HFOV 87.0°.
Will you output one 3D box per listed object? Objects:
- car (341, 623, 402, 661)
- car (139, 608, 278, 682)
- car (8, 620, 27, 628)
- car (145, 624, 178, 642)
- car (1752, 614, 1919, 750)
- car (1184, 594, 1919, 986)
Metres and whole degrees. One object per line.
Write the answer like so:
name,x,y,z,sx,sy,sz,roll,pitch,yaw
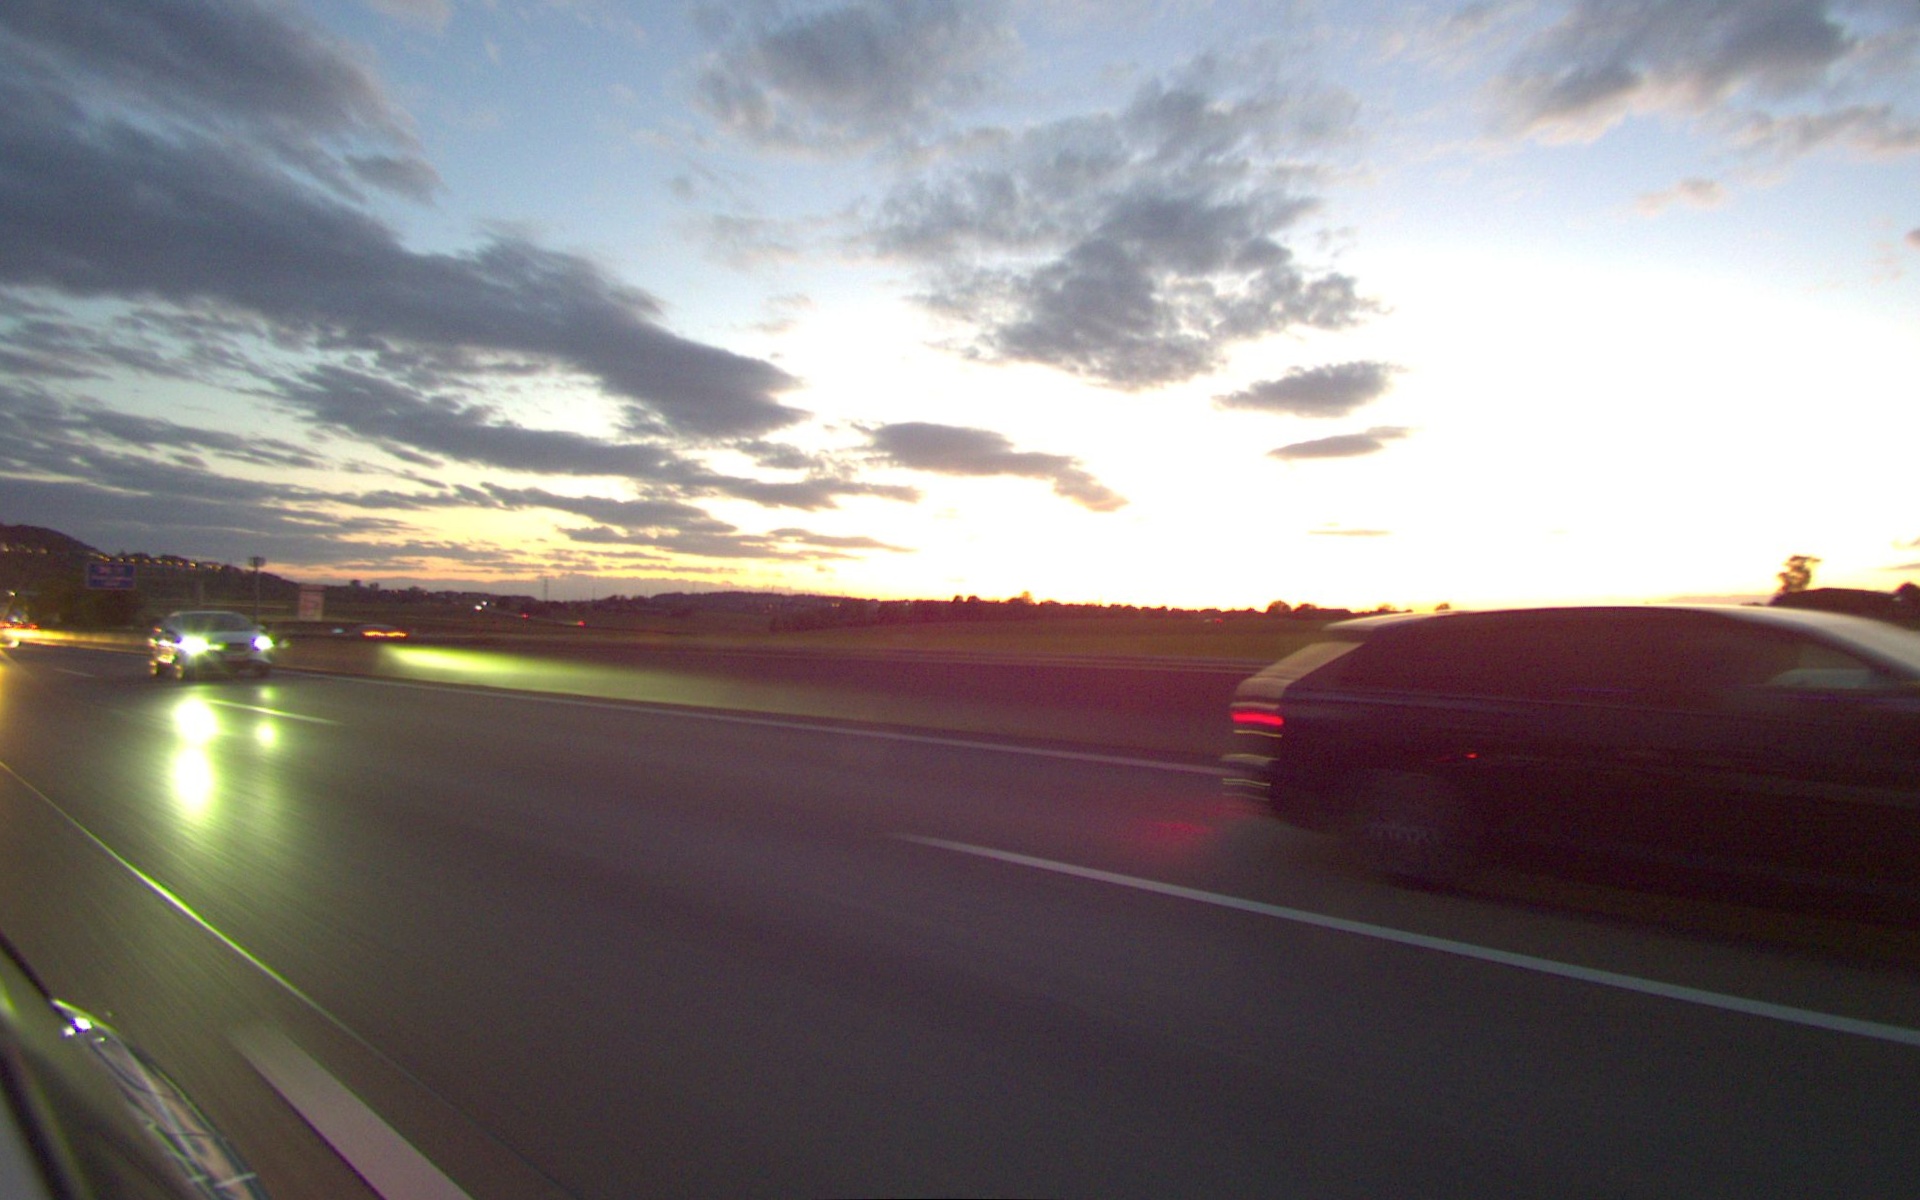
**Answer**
car,-34.114,2.378,58.639,4.417,2.029,1.755,-1,0,41
car,-18.903,1.048,25.366,4.854,1.660,1.795,-1,0,41
car,-140.443,3.582,150.824,3.998,1.189,1.648,-1,0,41
car,-75.450,3.082,95.643,4.518,1.546,1.641,-1,0,41
car,10.831,0.817,9.961,4.703,1.310,1.654,-1,0,41
car,3.898,0.709,4.685,5.392,1.448,1.795,-1,0,41
